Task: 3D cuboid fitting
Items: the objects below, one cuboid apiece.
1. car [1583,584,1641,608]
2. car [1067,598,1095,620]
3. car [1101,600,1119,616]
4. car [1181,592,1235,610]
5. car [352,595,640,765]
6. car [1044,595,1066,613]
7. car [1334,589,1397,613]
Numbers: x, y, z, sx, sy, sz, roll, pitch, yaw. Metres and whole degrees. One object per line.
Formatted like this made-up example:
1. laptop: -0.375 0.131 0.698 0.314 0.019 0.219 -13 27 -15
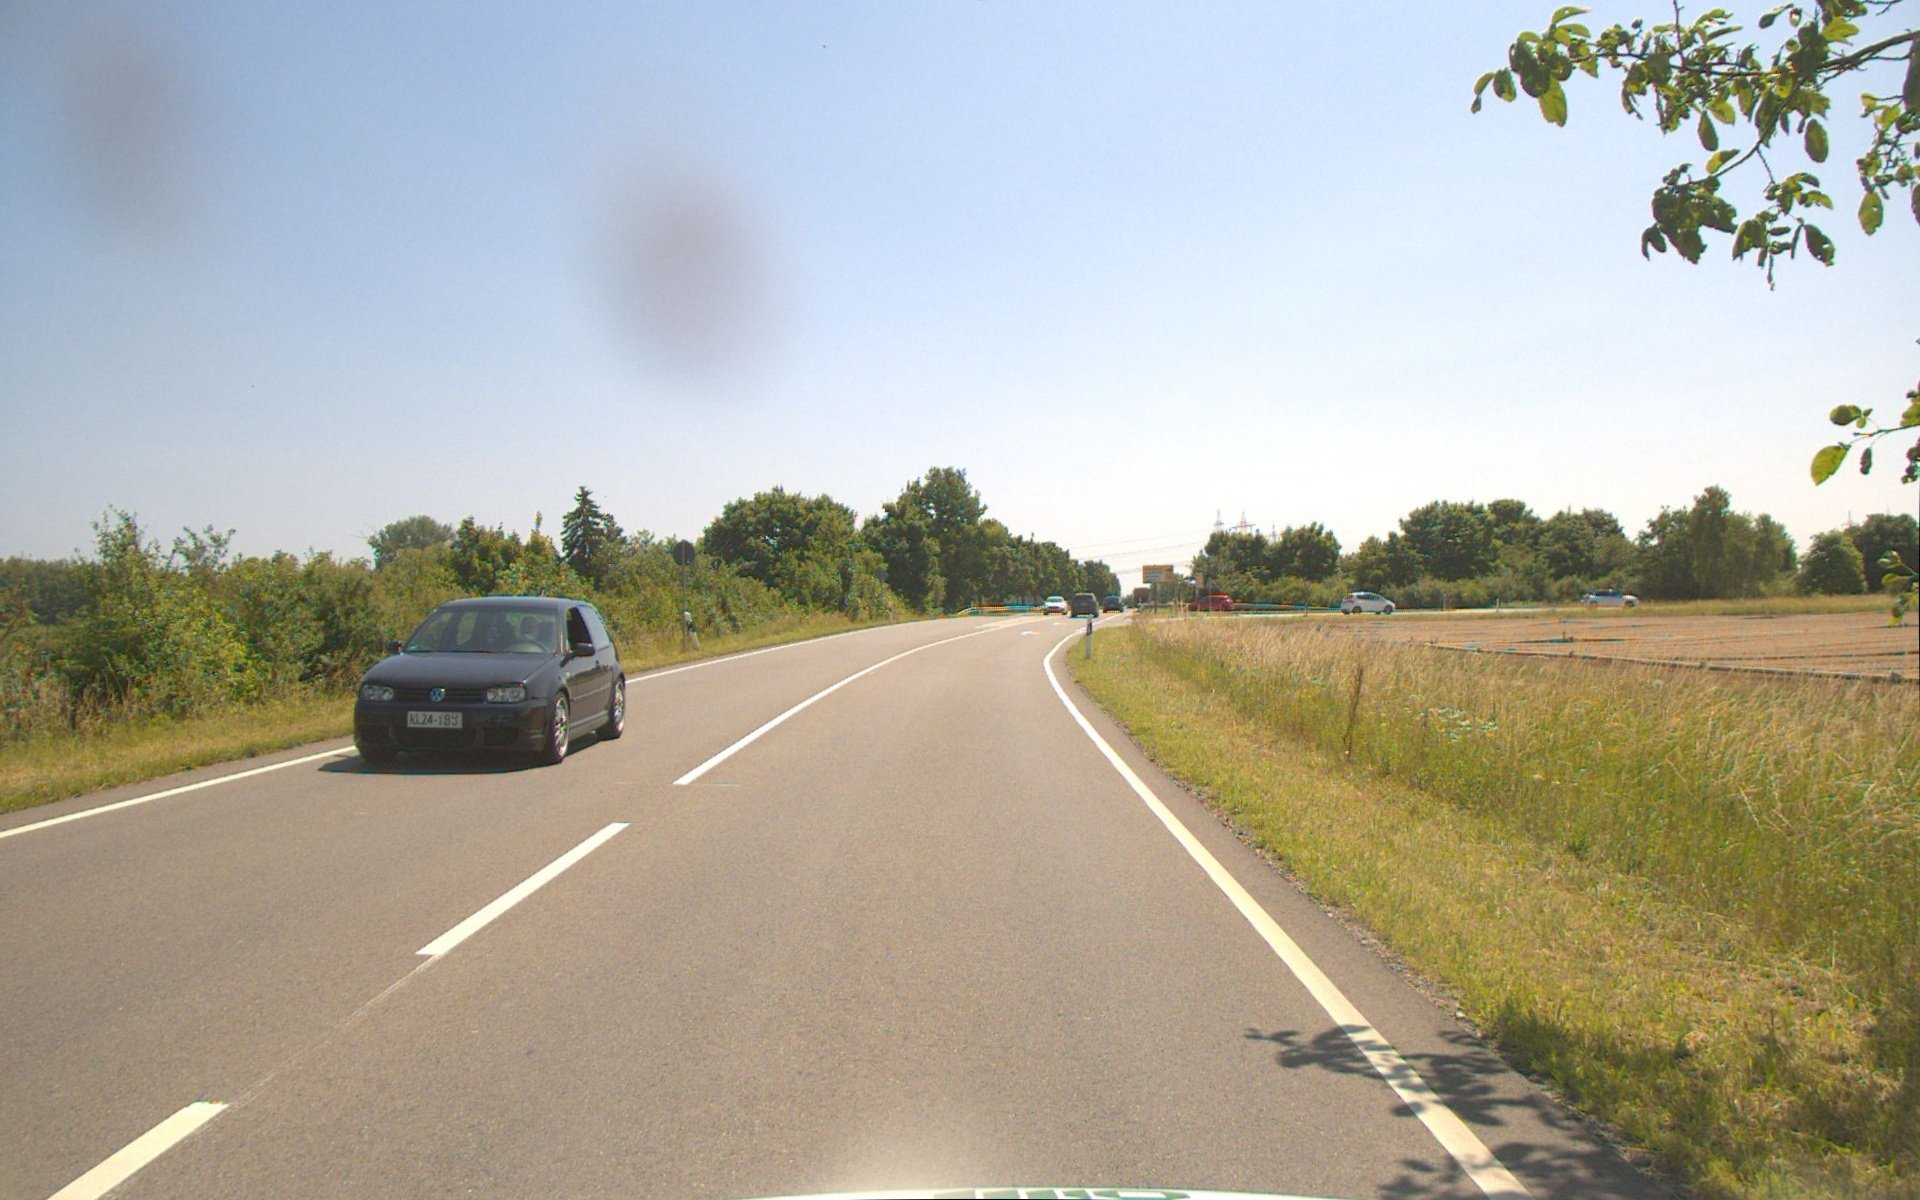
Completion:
1. car: 48.150 -0.305 122.253 3.904 1.652 1.645 -1 0 21
2. car: 8.620 0.648 117.354 1.845 1.544 4.042 1 0 6
3. car: 13.906 0.731 152.854 1.609 1.364 4.042 1 0 6
4. car: 20.268 0.088 135.166 4.067 1.443 1.779 -1 -1 21
5. car: -4.186 0.665 15.533 1.658 1.386 3.825 1 0 -1
6. car: 7.920 0.370 137.741 1.797 1.443 4.718 1 0 4
7. car: 30.043 0.086 122.624 4.060 1.652 2.063 -1 0 -15
